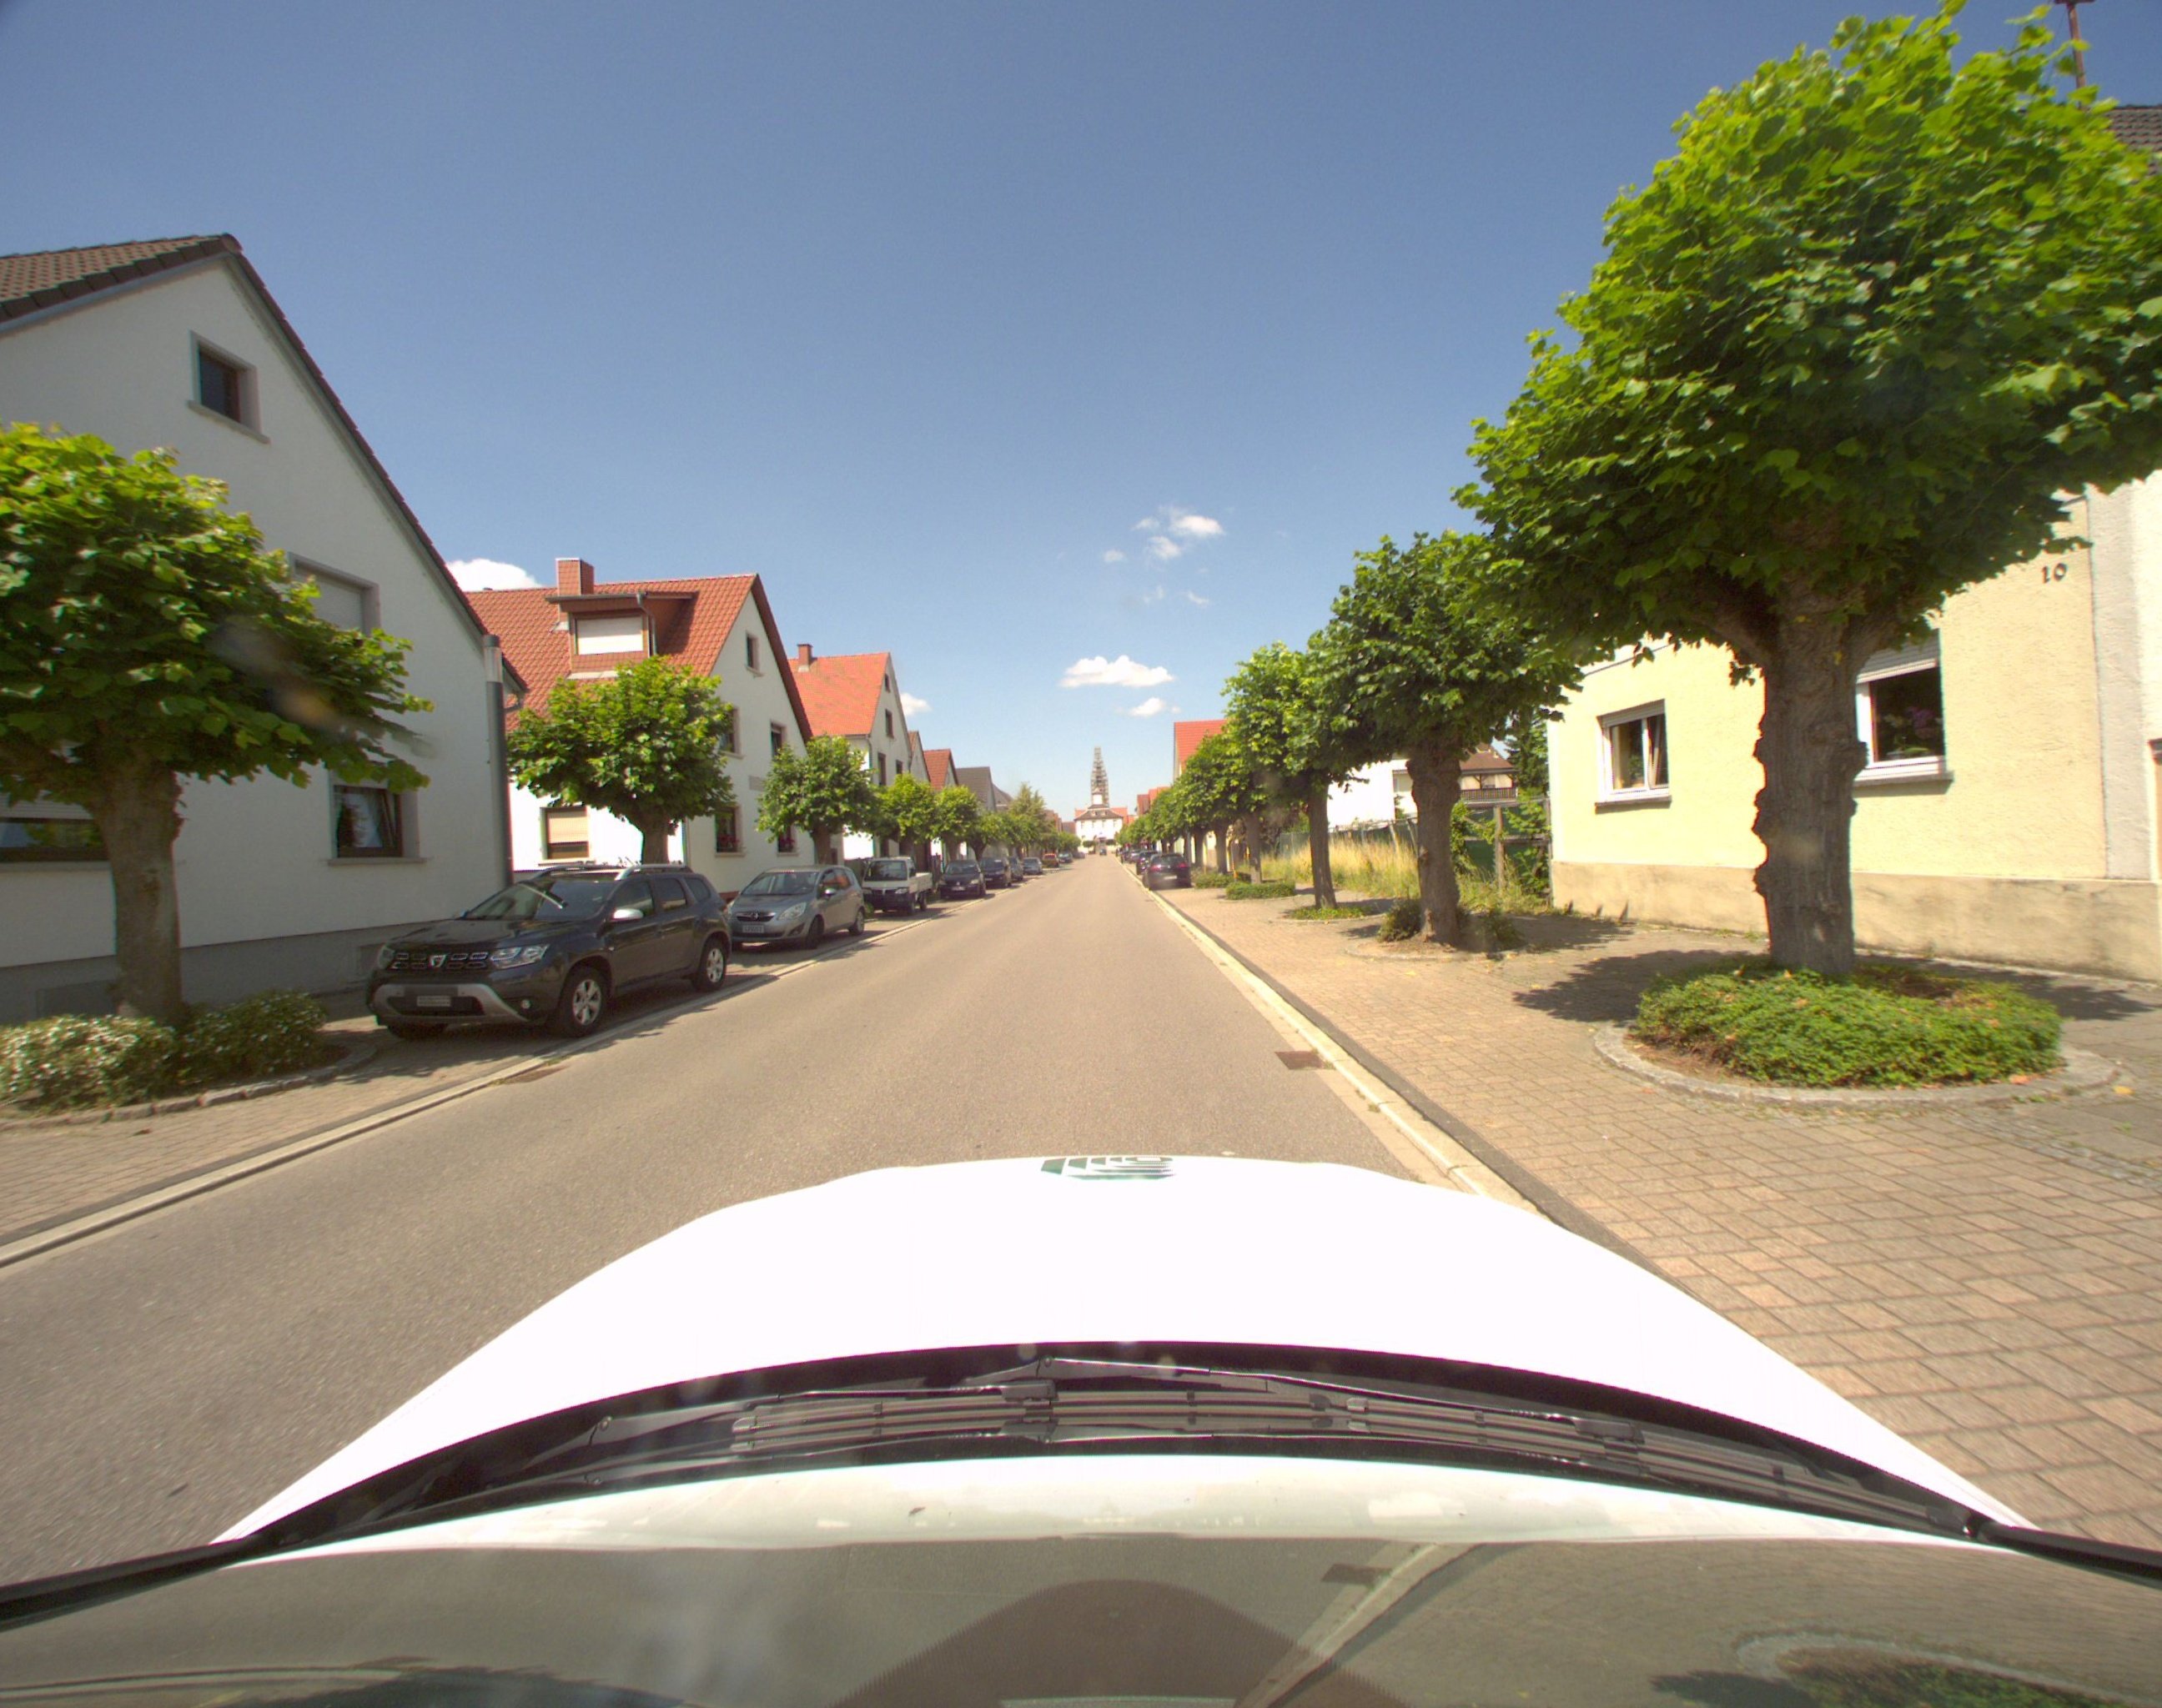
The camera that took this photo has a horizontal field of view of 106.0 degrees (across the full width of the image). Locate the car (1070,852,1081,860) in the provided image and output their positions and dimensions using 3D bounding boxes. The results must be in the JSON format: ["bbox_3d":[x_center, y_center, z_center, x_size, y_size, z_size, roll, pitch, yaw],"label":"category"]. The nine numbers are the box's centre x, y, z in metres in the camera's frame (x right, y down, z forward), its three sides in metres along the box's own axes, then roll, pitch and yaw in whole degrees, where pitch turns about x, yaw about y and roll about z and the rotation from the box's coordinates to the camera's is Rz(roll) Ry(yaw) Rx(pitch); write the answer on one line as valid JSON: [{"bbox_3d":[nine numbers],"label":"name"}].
[{"bbox_3d":[-1.071,0.364,160.625,1.751,1.555,4.022,-3,0,2],"label":"car"}]

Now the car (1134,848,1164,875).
[{"bbox_3d":[4.628,0.447,55.036,1.815,1.586,4.063,-4,0,6],"label":"car"}]

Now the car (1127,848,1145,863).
[{"bbox_3d":[6.462,0.152,95.803,1.831,1.607,4.000,-3,0,0],"label":"car"}]

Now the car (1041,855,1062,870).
[{"bbox_3d":[-3.480,0.959,96.004,1.985,1.611,4.692,-1,0,3],"label":"car"}]

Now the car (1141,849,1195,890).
[{"bbox_3d":[3.542,0.608,33.851,1.817,1.432,4.058,-5,0,2],"label":"car"}]

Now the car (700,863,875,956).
[{"bbox_3d":[-5.772,1.010,16.655,1.846,1.613,4.372,-1,0,2],"label":"car"}]

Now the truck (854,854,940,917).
[{"bbox_3d":[-5.588,0.904,25.248,1.570,1.765,4.194,-1,0,2],"label":"truck"}]

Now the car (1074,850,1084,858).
[{"bbox_3d":[-0.393,0.070,166.358,1.985,1.611,3.857,-1,0,3],"label":"car"}]

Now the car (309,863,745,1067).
[{"bbox_3d":[-5.675,0.988,9.185,1.846,1.636,4.301,-1,1,2],"label":"car"}]

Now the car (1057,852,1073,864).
[{"bbox_3d":[-2.282,0.568,117.613,1.985,1.611,4.692,-1,1,3],"label":"car"}]

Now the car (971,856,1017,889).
[{"bbox_3d":[-4.528,0.941,42.952,1.846,1.635,4.058,-1,0,2],"label":"car"}]

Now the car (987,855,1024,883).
[{"bbox_3d":[-4.750,0.906,51.820,1.988,1.652,4.364,-1,0,-2],"label":"car"}]

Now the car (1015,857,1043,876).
[{"bbox_3d":[-4.169,0.956,66.123,1.834,1.396,4.407,-2,0,1],"label":"car"}]

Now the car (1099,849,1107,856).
[{"bbox_3d":[4.850,-0.248,182.285,1.723,1.547,3.457,-1,0,2],"label":"car"}]

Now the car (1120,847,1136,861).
[{"bbox_3d":[5.924,0.017,103.341,1.831,1.555,4.315,-5,0,1],"label":"car"}]

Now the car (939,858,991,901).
[{"bbox_3d":[-4.735,1.000,33.707,1.782,1.634,3.994,-2,0,-4],"label":"car"}]

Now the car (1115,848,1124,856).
[{"bbox_3d":[7.808,-0.461,166.122,1.830,1.555,4.316,-5,0,2],"label":"car"}]
